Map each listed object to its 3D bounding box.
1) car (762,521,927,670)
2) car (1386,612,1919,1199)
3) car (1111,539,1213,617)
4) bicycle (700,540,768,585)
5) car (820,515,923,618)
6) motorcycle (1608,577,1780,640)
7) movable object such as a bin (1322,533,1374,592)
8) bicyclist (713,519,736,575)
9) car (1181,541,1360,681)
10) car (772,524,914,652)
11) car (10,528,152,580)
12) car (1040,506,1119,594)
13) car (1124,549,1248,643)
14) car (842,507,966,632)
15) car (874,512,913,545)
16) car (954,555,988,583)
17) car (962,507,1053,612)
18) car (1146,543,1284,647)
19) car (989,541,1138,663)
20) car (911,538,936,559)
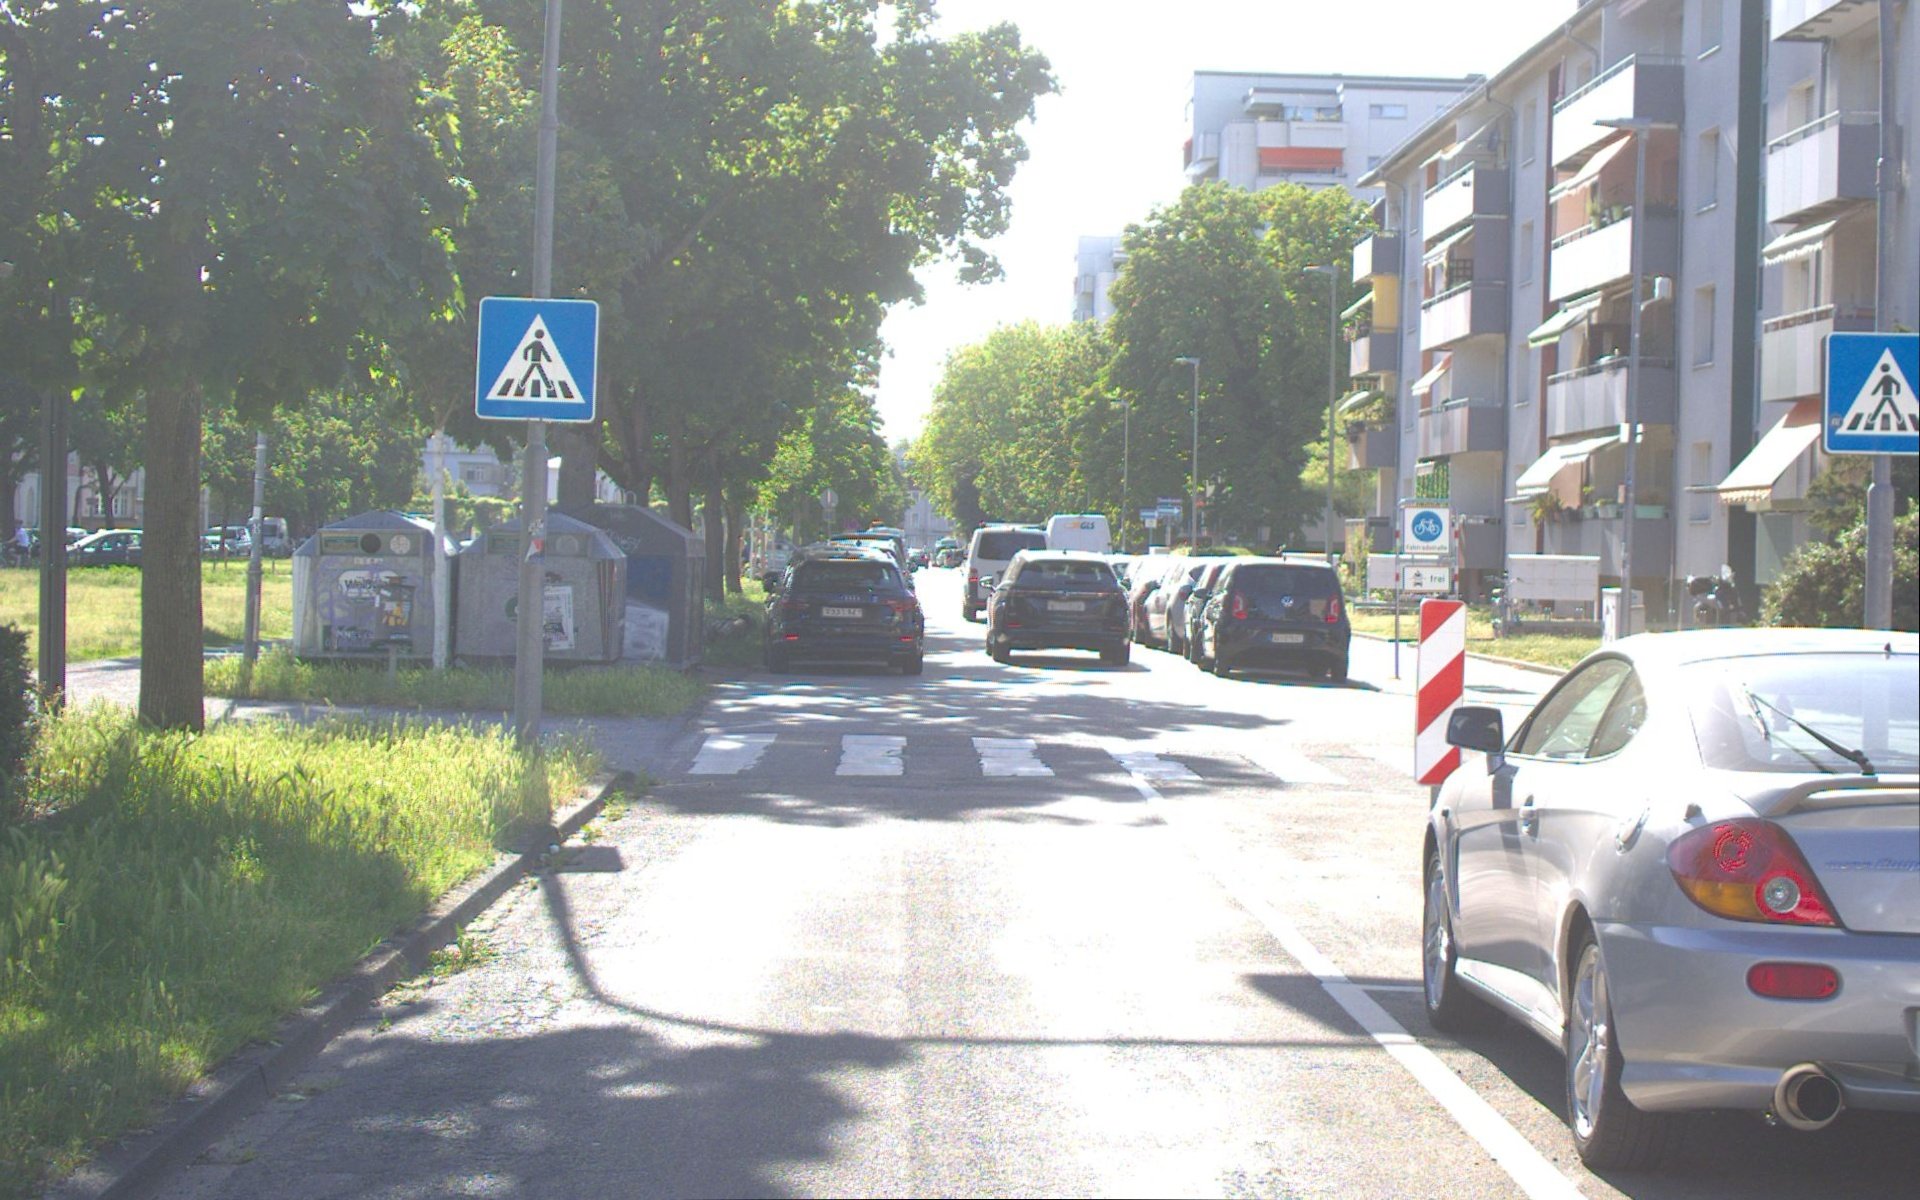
[{"bbox_3d":[-1.320,-0.086,40.645,1.794,1.619,4.000,2,1,0],"label":"car"},{"bbox_3d":[2.343,0.752,9.404,1.764,1.314,4.168,2,0,0],"label":"car"},{"bbox_3d":[4.130,-0.481,70.720,1.794,1.505,4.000,1,1,0],"label":"car"},{"bbox_3d":[-7.787,-1.301,118.609,2.322,1.534,0.630,0,1,-5],"label":"bicycle"},{"bbox_3d":[-1.773,-0.694,69.767,1.993,2.007,4.000,1,1,0],"label":"car"},{"bbox_3d":[11.840,0.137,55.512,2.558,0.932,0.830,2,1,-3],"label":"motorcycle"},{"bbox_3d":[10.183,-0.993,90.256,1.091,1.505,2.002,1,1,0],"label":"movable object such as a bin"},{"bbox_3d":[-8.121,-1.834,118.570,0.770,1.914,0.630,0,1,-5],"label":"bicyclist"},{"bbox_3d":[3.814,0.095,42.819,1.794,1.595,4.000,2,1,0],"label":"car"},{"bbox_3d":[-1.566,-0.198,47.120,1.794,1.619,4.000,2,1,0],"label":"car"},{"bbox_3d":[-27.220,-1.430,106.536,3.986,1.505,1.800,1,1,-4],"label":"car"},{"bbox_3d":[3.487,-1.487,101.315,1.993,2.422,4.500,3,1,0],"label":"car"},{"bbox_3d":[3.850,-0.097,59.029,1.794,1.505,4.000,1,1,0],"label":"car"},{"bbox_3d":[-0.926,-0.526,57.692,1.993,2.007,4.000,1,1,0],"label":"car"},{"bbox_3d":[-3.192,-3.433,165.415,1.794,1.505,4.000,1,1,0],"label":"car"},{"bbox_3d":[0.587,-1.699,188.885,1.794,1.505,4.000,1,1,0],"label":"car"},{"bbox_3d":[0.980,-0.865,72.753,1.794,2.115,4.000,1,1,0],"label":"car"},{"bbox_3d":[3.962,-0.107,53.861,1.794,1.505,4.000,1,1,0],"label":"car"},{"bbox_3d":[1.336,-0.010,45.779,1.794,1.505,4.000,1,1,0],"label":"car"},{"bbox_3d":[-2.717,-3.845,256.807,1.794,1.505,4.000,1,1,0],"label":"car"}]
